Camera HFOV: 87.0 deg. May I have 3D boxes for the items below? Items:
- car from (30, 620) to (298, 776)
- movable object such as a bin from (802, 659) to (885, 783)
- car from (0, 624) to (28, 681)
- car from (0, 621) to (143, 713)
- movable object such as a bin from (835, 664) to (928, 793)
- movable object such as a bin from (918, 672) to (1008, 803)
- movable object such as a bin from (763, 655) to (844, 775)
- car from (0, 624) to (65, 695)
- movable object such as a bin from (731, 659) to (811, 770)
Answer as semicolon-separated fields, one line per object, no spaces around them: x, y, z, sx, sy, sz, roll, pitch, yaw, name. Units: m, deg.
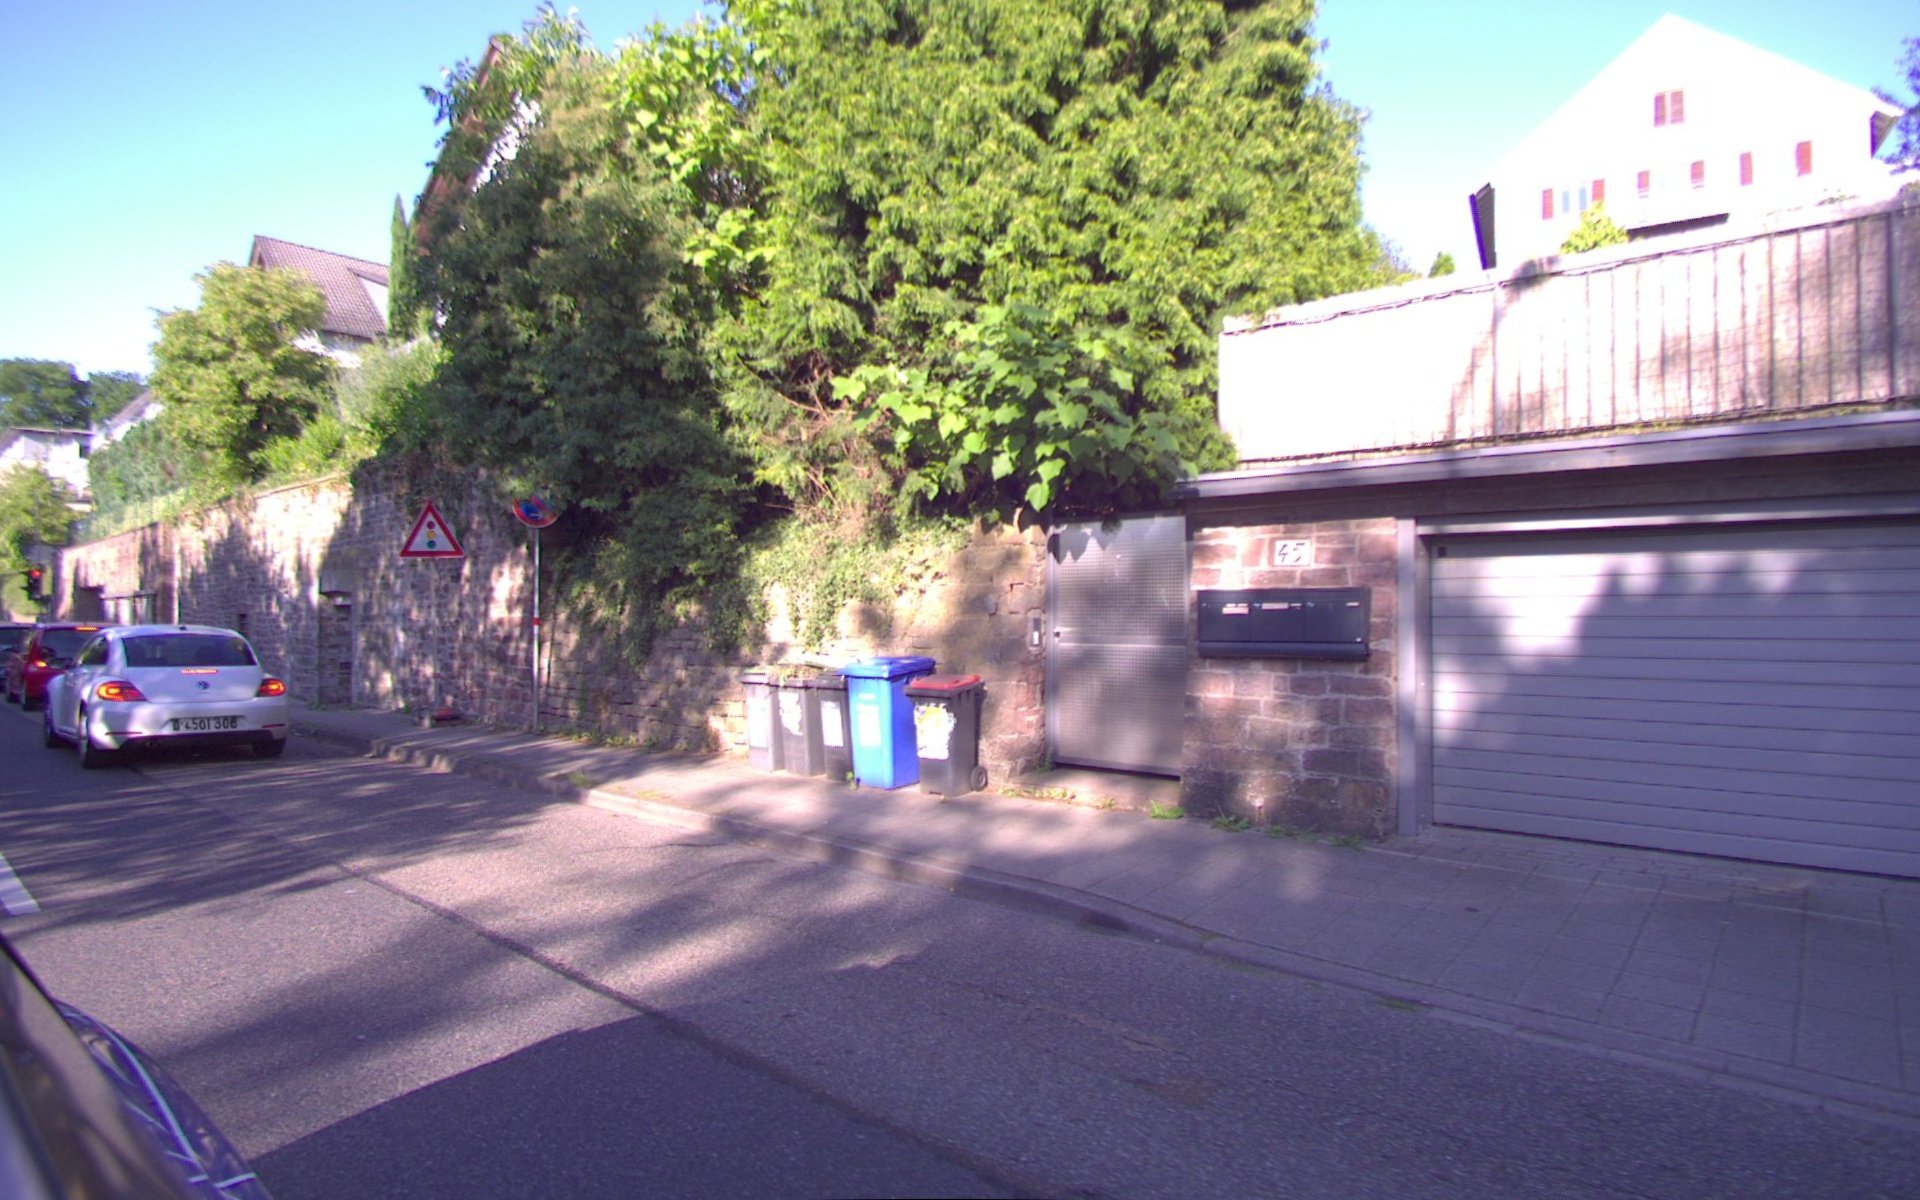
-9.280;1.007;11.685;3.999;1.486;1.722;-1;-3;42;car
-1.013;1.038;8.838;0.438;0.992;0.567;0;0;39;movable object such as a bin
-25.919;1.348;26.581;3.559;1.432;1.610;-1;-2;39;car
-15.917;1.138;18.019;3.567;1.477;1.534;-1;-3;42;car
-0.647;1.036;8.353;0.583;0.971;0.485;-1;0;39;movable object such as a bin
0.025;1.058;7.970;0.438;0.932;0.567;-1;0;39;movable object such as a bin
-1.407;1.019;9.129;0.438;0.992;0.567;0;0;39;movable object such as a bin
-20.709;1.238;21.782;3.928;1.422;1.632;-1;-2;41;car
-1.757;1.050;9.425;0.438;0.944;0.578;0;0;39;movable object such as a bin
